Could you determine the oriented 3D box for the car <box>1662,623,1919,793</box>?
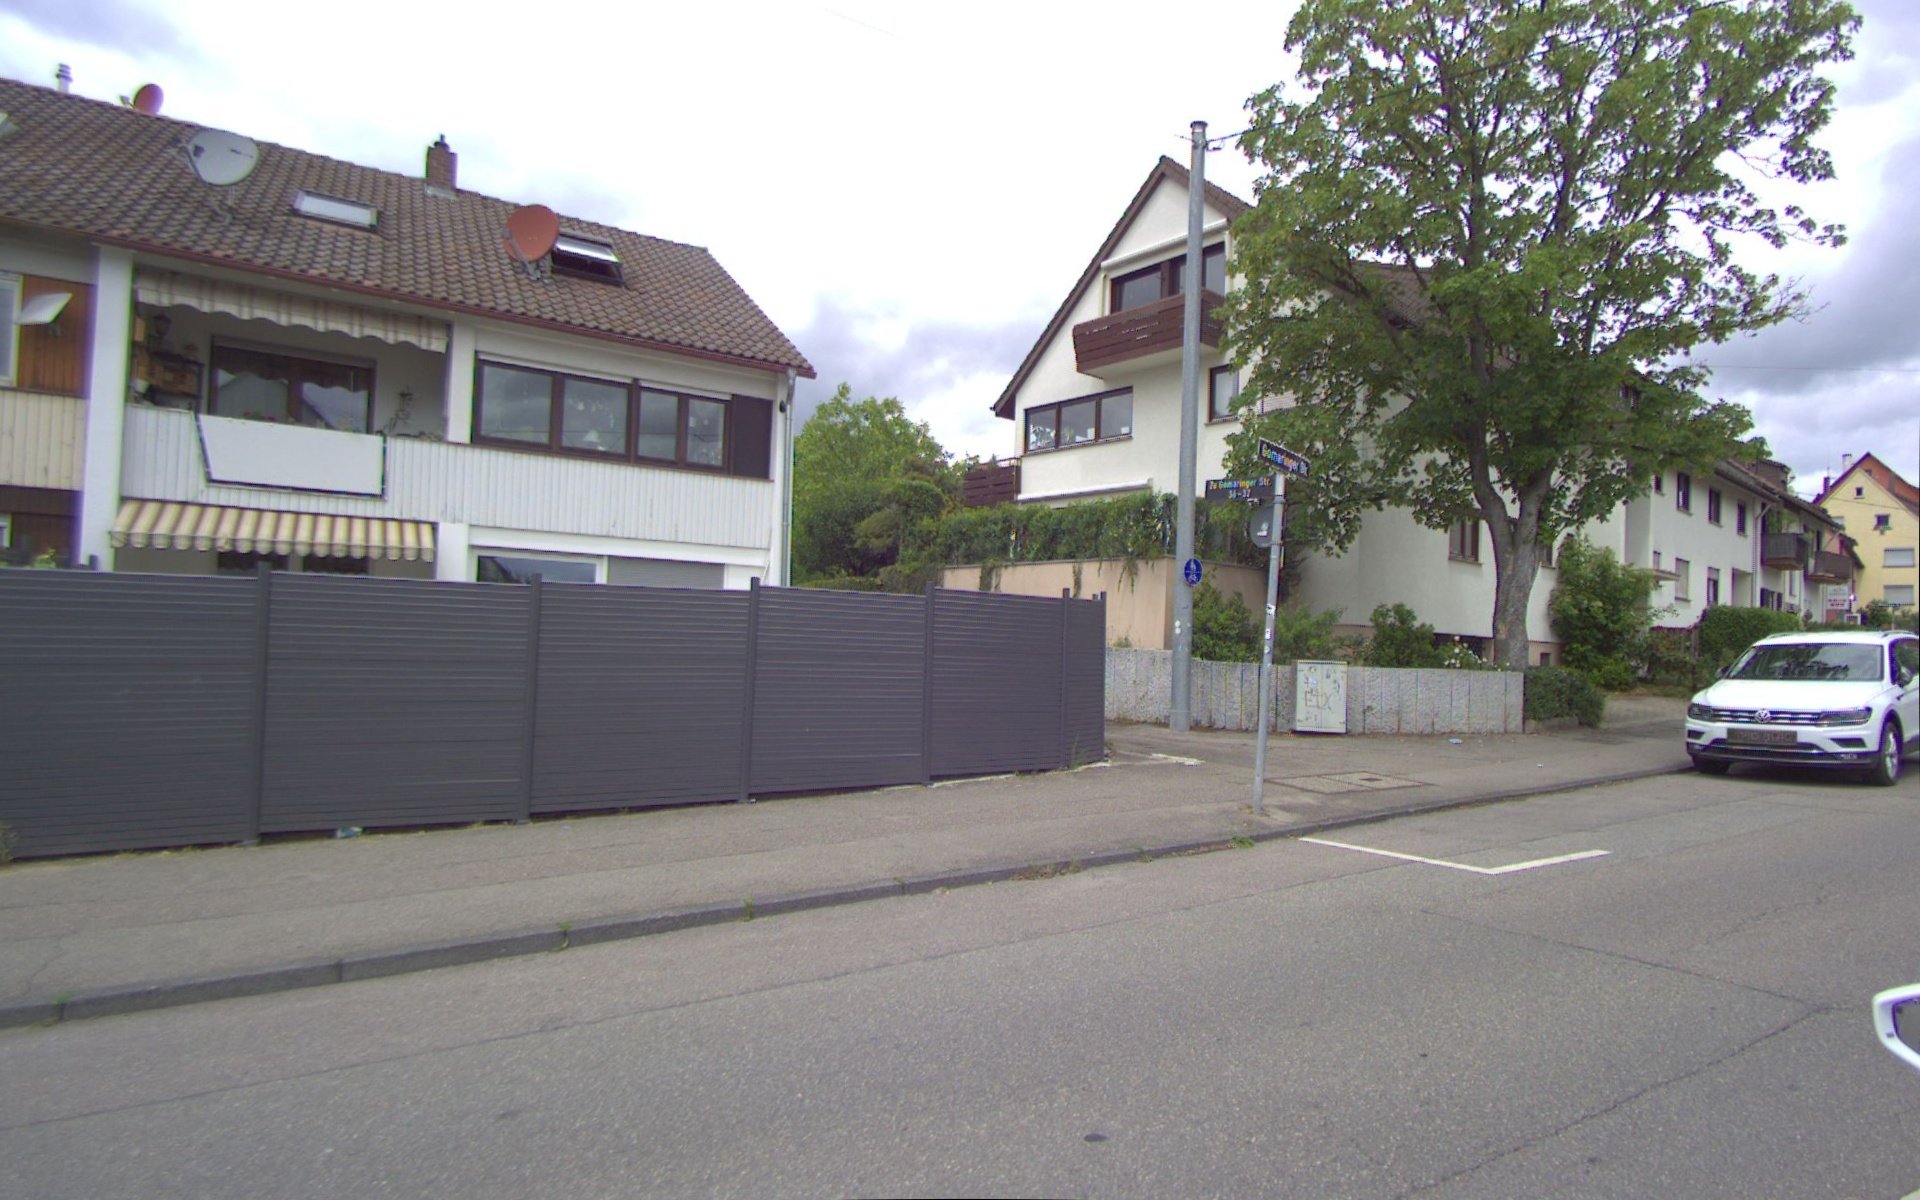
[{"bbox_3d":[10.621,1.195,12.358,4.530,1.736,1.838,2,-3,-36],"label":"car"}]
